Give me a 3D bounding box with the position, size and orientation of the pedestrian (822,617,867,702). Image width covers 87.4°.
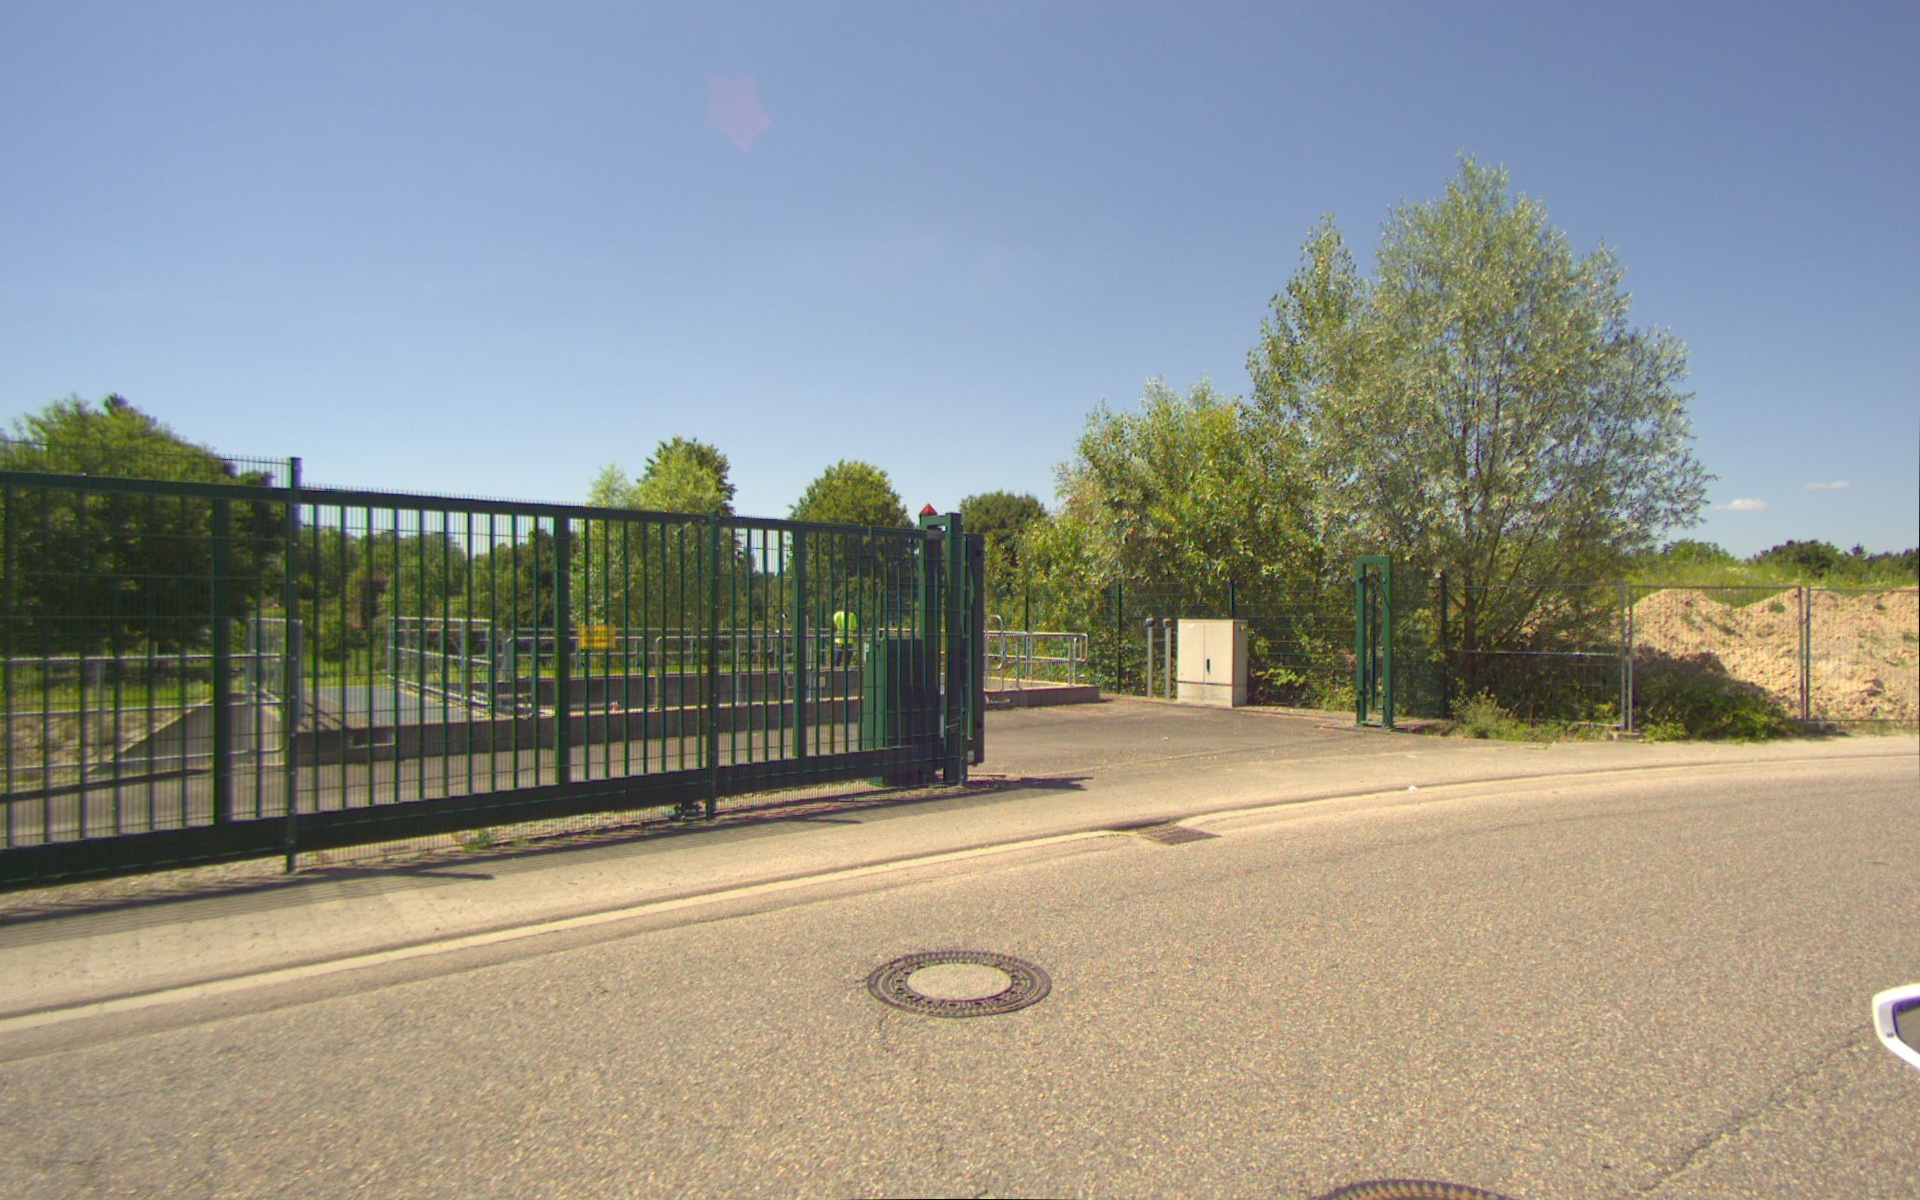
[{"bbox_3d":[-2.600,1.334,22.640,0.798,1.863,0.600,2,-2,-41],"label":"pedestrian"}]
